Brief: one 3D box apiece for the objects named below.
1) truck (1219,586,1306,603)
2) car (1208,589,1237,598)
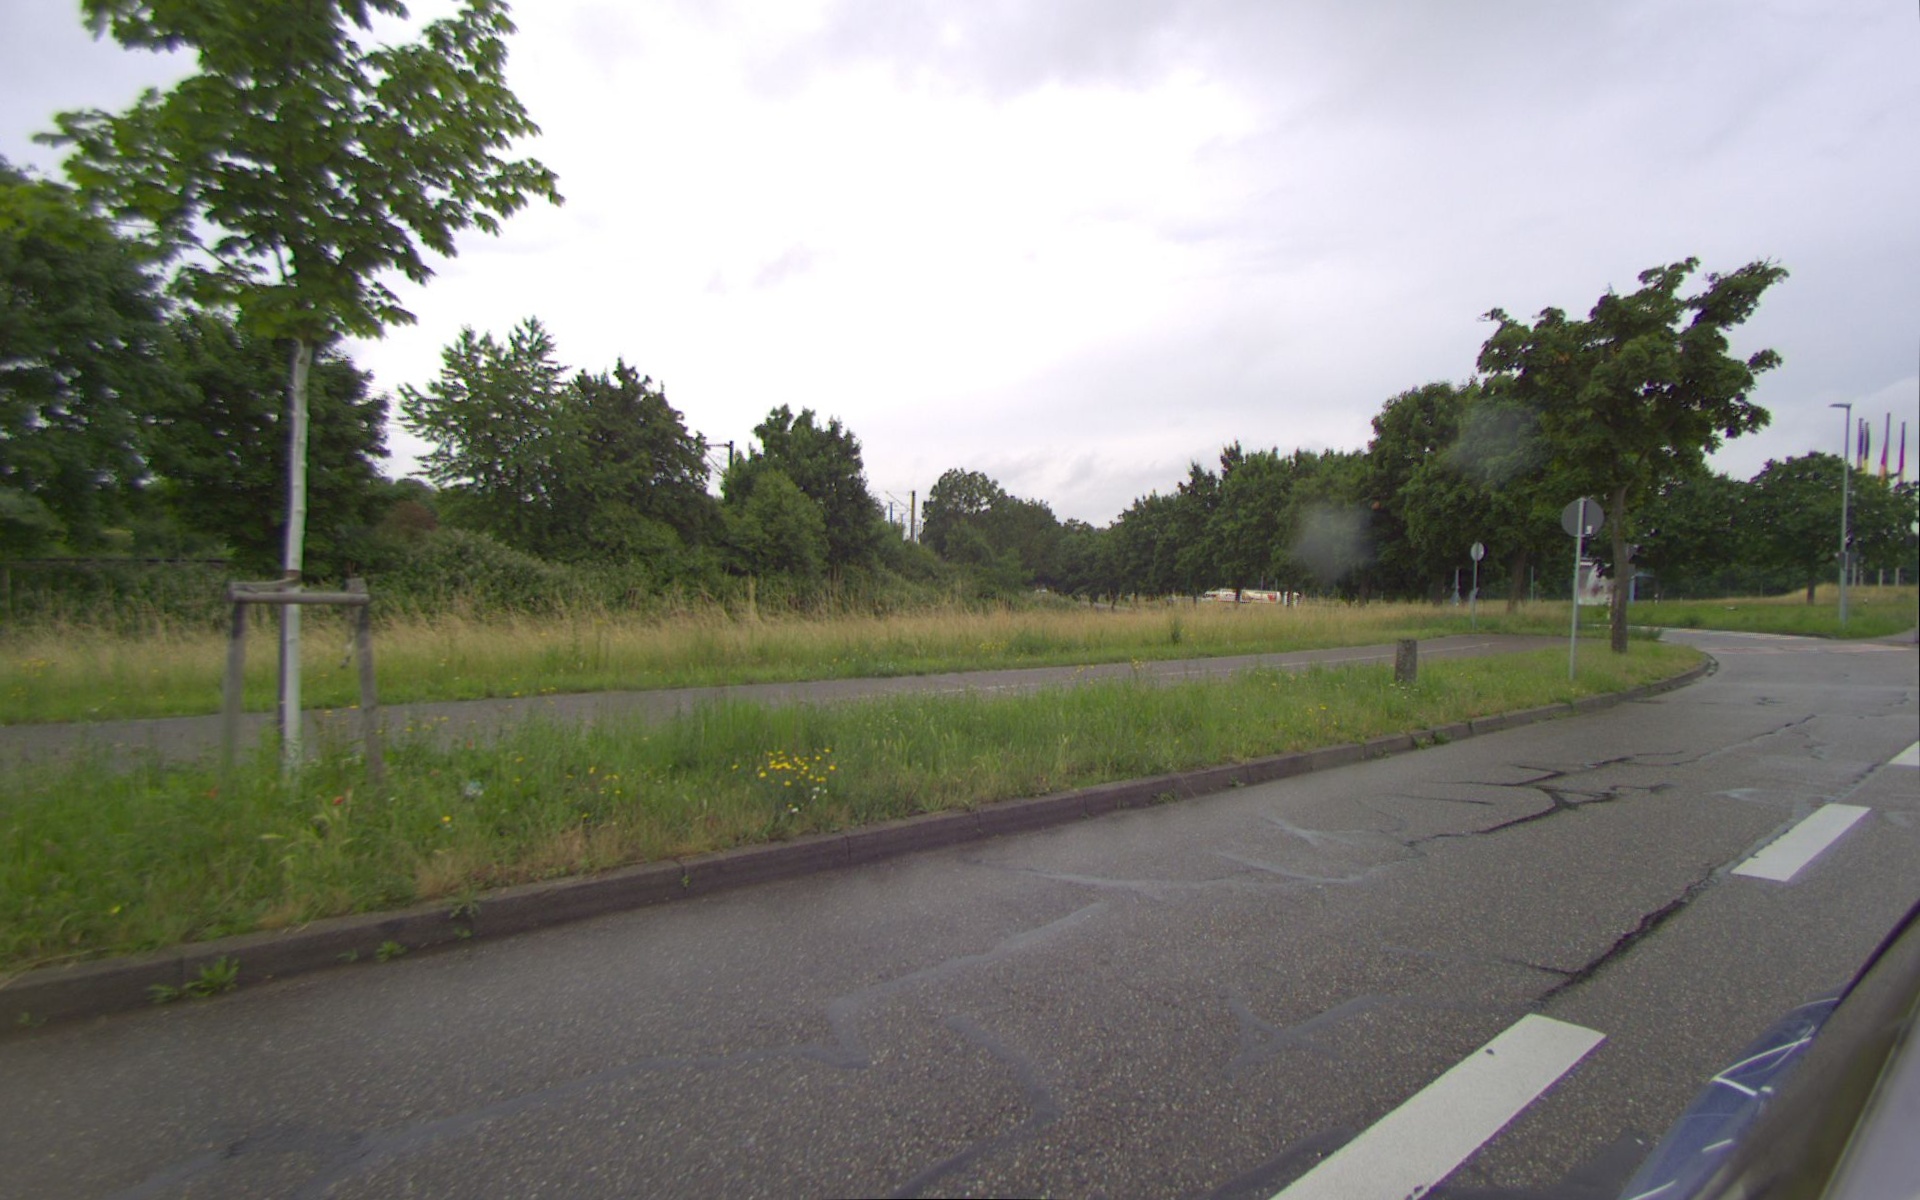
[{"bbox_3d":[53.665,-1.047,179.977,14.523,2.765,3.465,2,1,34],"label":"truck"},{"bbox_3d":[51.417,-1.269,198.296,5.249,1.627,2.215,1,1,32],"label":"car"}]
